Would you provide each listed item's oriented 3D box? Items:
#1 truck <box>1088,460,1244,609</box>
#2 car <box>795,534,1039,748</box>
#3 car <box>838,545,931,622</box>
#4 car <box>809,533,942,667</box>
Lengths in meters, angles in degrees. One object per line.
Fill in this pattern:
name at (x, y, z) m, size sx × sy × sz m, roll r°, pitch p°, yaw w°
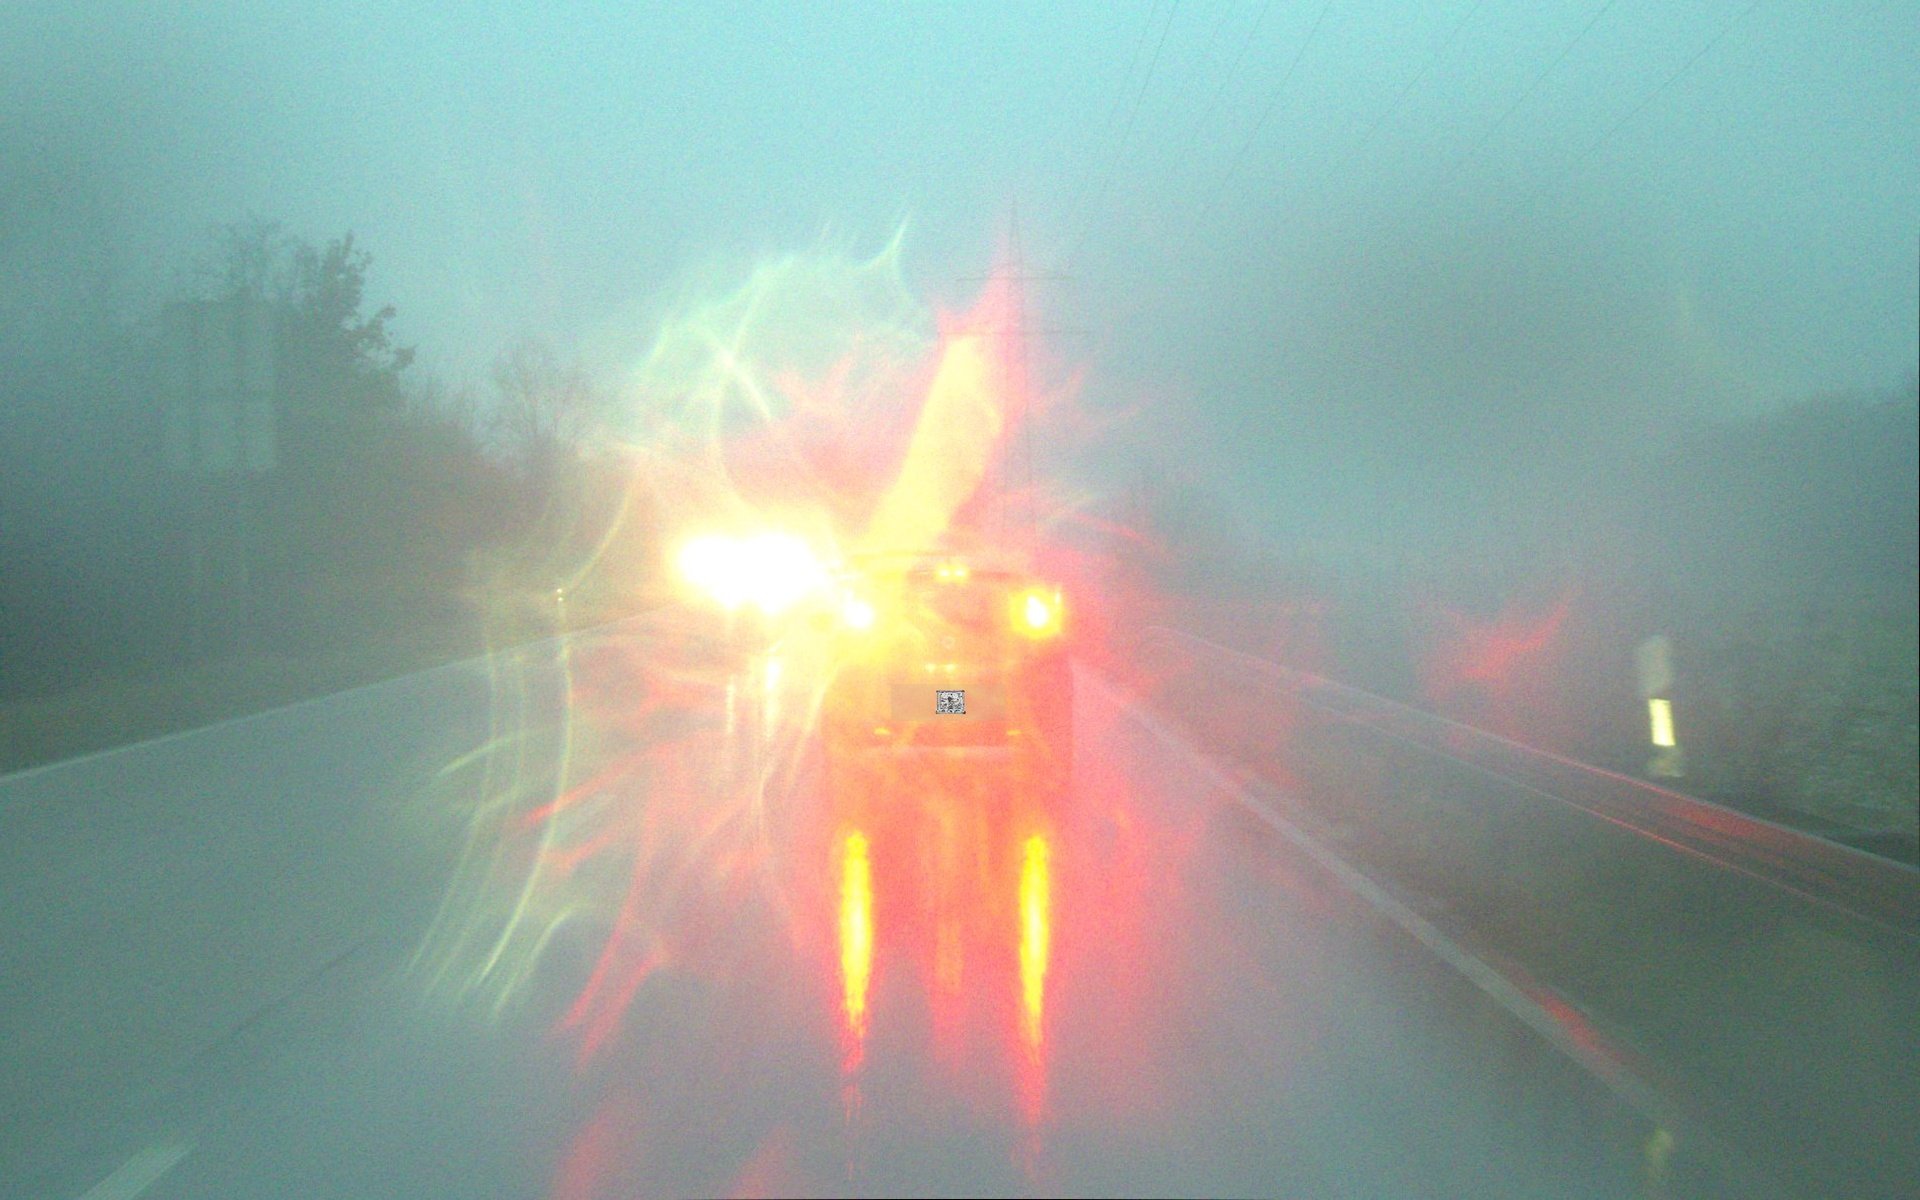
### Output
truck at (4.311, -1.364, 73.507) m, size 2.533 × 2.968 × 7.858 m, roll 1°, pitch 1°, yaw -2°
car at (-0.359, 0.256, 24.274) m, size 1.500 × 1.393 × 3.200 m, roll 1°, pitch 1°, yaw -5°
car at (-1.661, -0.374, 74.191) m, size 1.769 × 1.585 × 4.165 m, roll 1°, pitch 1°, yaw -4°
car at (-1.367, -0.023, 54.216) m, size 1.852 × 2.007 × 4.001 m, roll 1°, pitch 1°, yaw -5°
